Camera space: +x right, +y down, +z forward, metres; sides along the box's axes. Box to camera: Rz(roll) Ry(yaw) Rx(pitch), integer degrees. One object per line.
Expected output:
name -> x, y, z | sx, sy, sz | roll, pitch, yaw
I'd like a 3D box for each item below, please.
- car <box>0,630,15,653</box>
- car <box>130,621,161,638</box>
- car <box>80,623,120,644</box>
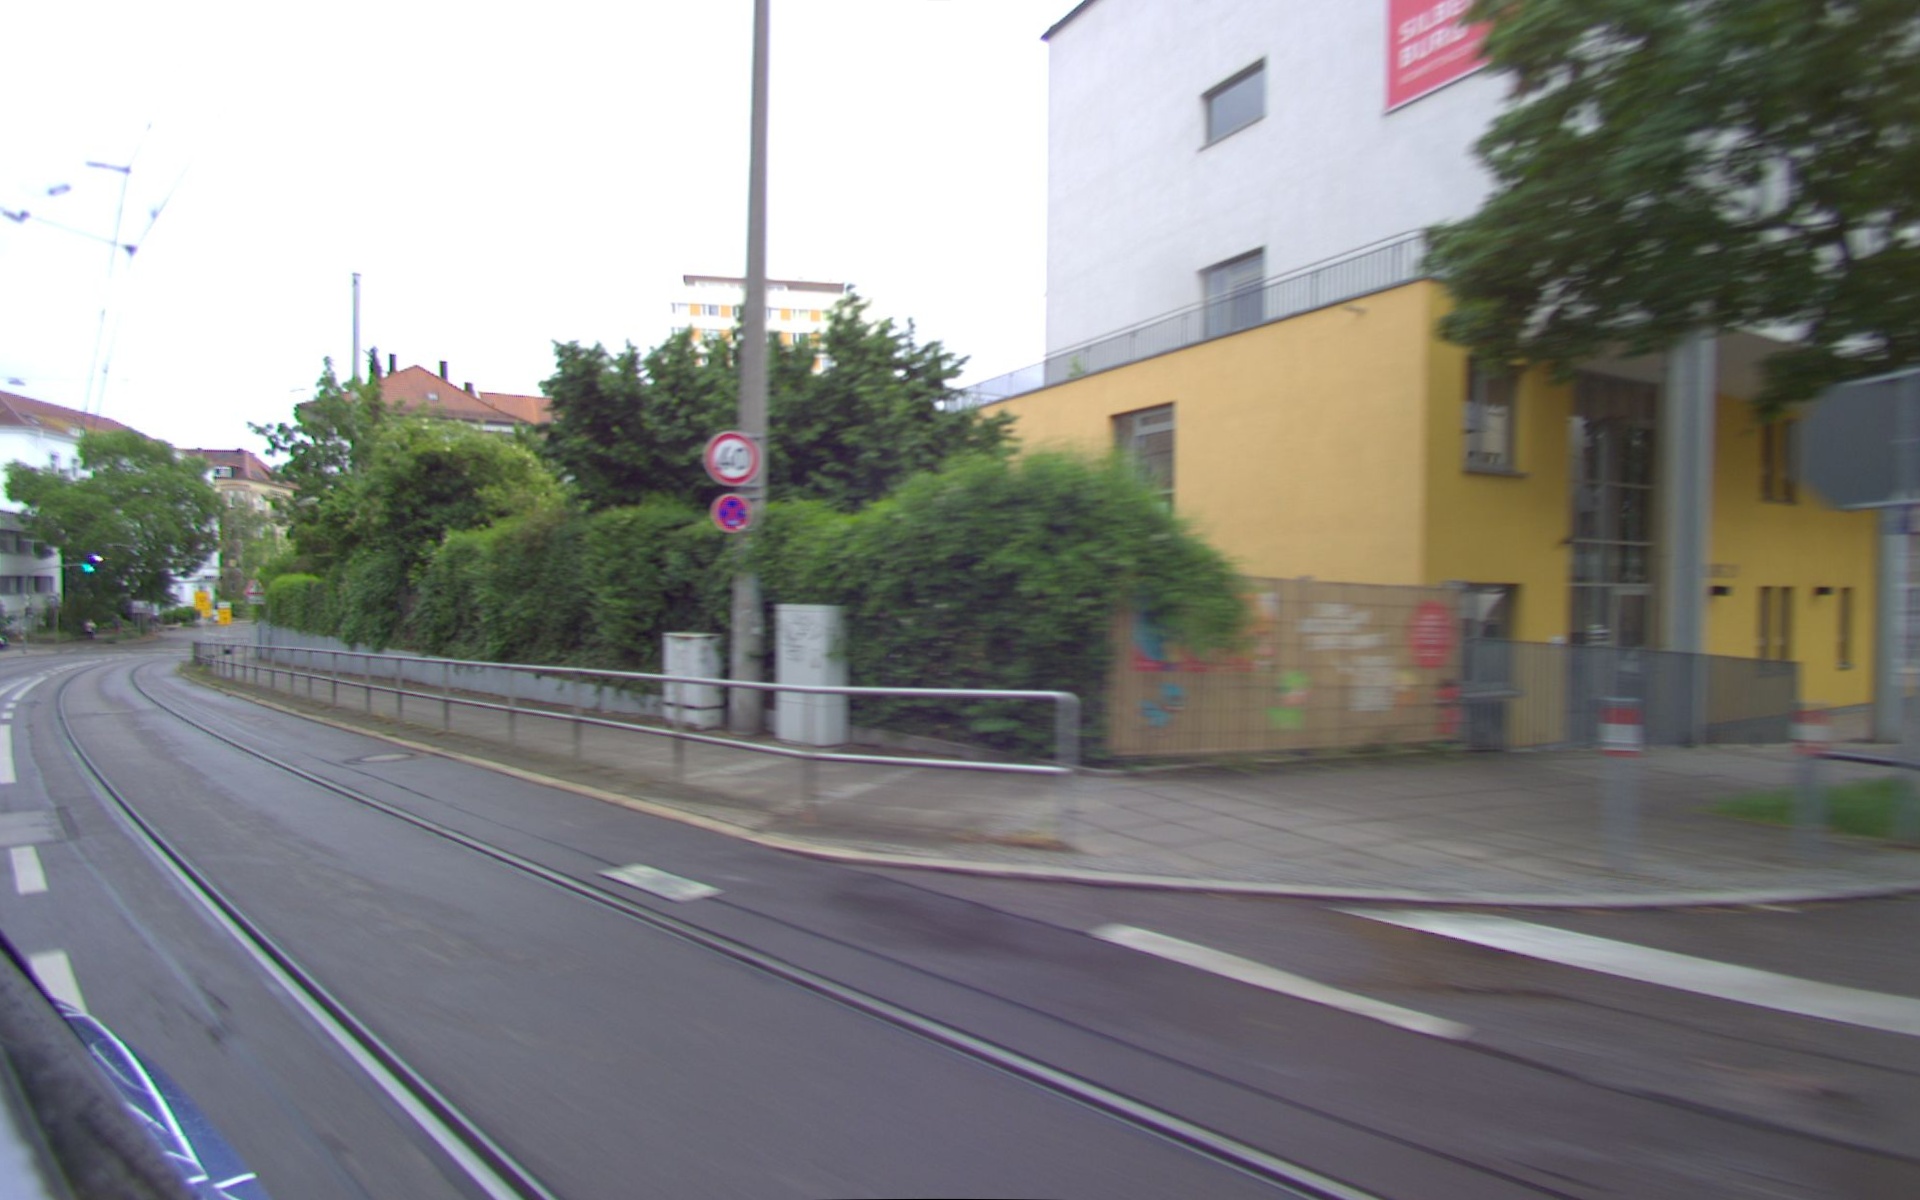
car -> -65.000, 2.798, 68.142 | 1.589, 1.453, 3.695 | -3, 1, -38
car -> -77.573, 2.762, 96.411 | 1.769, 1.522, 4.012 | -1, 0, -31
car -> -67.015, 2.606, 78.923 | 1.769, 1.522, 4.012 | -1, 0, -31
